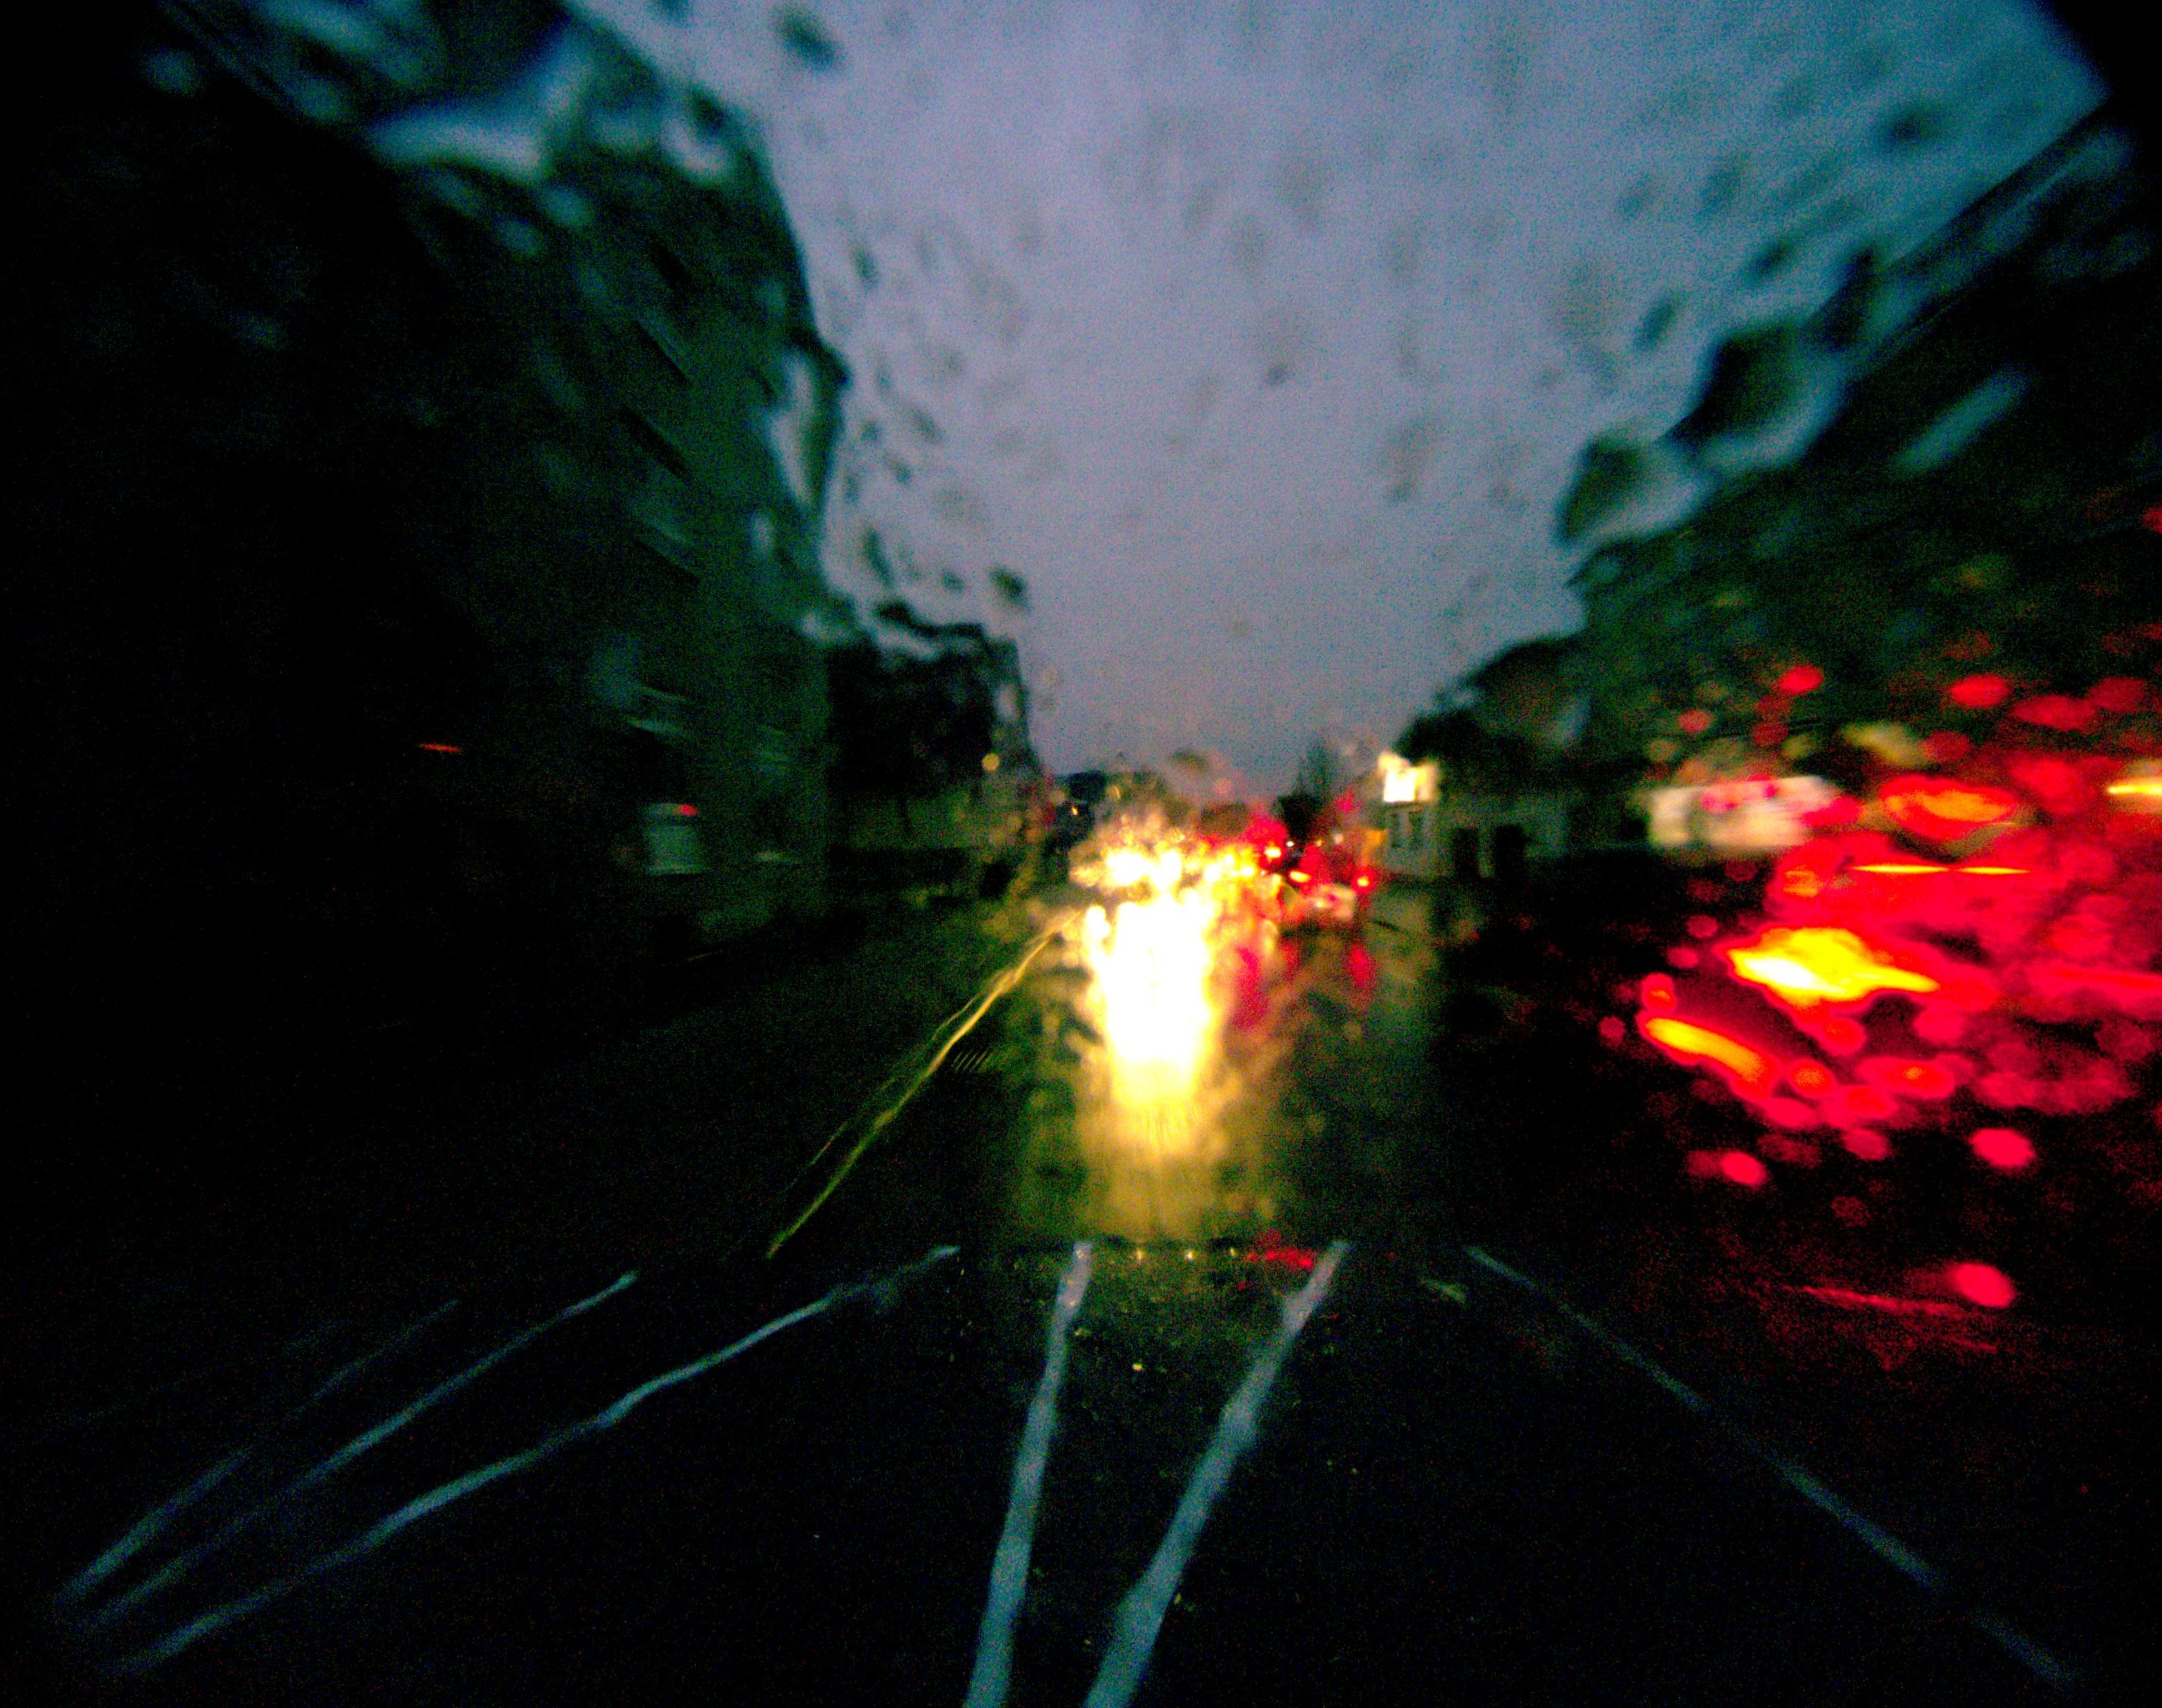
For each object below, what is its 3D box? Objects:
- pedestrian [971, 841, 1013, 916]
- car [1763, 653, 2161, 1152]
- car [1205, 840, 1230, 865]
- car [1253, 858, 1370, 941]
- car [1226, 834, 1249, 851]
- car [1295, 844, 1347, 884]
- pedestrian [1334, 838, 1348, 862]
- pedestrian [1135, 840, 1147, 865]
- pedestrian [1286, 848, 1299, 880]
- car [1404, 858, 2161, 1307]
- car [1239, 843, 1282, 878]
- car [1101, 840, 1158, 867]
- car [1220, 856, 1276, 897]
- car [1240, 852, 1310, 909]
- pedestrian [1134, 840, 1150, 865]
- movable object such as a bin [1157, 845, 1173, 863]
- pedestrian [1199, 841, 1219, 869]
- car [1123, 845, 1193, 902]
[{"bbox_3d":[-2.083,0.567,17.795,0.746,1.719,0.873,0,0,10],"label":"pedestrian"},{"bbox_3d":[6.663,0.235,2.927,2.491,2.545,6.763,-2,1,6],"label":"car"},{"bbox_3d":[11.461,-0.134,63.772,1.997,2.002,4.003,-2,1,10],"label":"car"},{"bbox_3d":[4.792,0.892,16.374,1.997,1.546,4.262,0,-1,11],"label":"car"},{"bbox_3d":[17.860,-1.301,86.654,1.998,1.844,4.001,-2,1,4],"label":"car"},{"bbox_3d":[11.231,0.419,35.846,1.883,1.700,4.716,-2,1,12],"label":"car"},{"bbox_3d":[18.057,-0.282,52.744,0.827,1.649,1.098,-2,1,15],"label":"pedestrian"},{"bbox_3d":[4.121,-0.076,52.325,0.704,1.695,0.916,-1,1,12],"label":"pedestrian"},{"bbox_3d":[10.399,0.499,37.379,0.529,1.576,0.576,0,0,10],"label":"pedestrian"},{"bbox_3d":[3.882,0.870,4.930,1.921,1.556,4.227,1,1,3],"label":"car"},{"bbox_3d":[9.560,0.371,40.738,1.997,1.695,4.971,-3,-1,11],"label":"car"},{"bbox_3d":[3.922,-0.059,61.236,4.094,2.038,2.003,2,1,21],"label":"car"},{"bbox_3d":[6.782,0.928,31.251,1.955,1.537,4.420,1,-2,8],"label":"car"},{"bbox_3d":[5.985,0.753,23.890,1.860,1.547,4.261,2,1,11],"label":"car"},{"bbox_3d":[4.151,-0.104,51.513,0.837,1.695,0.846,2,2,24],"label":"pedestrian"},{"bbox_3d":[7.898,0.015,71.189,1.395,1.634,1.262,2,1,10],"label":"movable object such as a bin"},{"bbox_3d":[8.765,0.086,52.089,0.944,1.865,1.010,-1,1,-31],"label":"pedestrian"},{"bbox_3d":[2.678,0.584,25.596,1.997,1.720,4.003,-2,1,10],"label":"car"}]
